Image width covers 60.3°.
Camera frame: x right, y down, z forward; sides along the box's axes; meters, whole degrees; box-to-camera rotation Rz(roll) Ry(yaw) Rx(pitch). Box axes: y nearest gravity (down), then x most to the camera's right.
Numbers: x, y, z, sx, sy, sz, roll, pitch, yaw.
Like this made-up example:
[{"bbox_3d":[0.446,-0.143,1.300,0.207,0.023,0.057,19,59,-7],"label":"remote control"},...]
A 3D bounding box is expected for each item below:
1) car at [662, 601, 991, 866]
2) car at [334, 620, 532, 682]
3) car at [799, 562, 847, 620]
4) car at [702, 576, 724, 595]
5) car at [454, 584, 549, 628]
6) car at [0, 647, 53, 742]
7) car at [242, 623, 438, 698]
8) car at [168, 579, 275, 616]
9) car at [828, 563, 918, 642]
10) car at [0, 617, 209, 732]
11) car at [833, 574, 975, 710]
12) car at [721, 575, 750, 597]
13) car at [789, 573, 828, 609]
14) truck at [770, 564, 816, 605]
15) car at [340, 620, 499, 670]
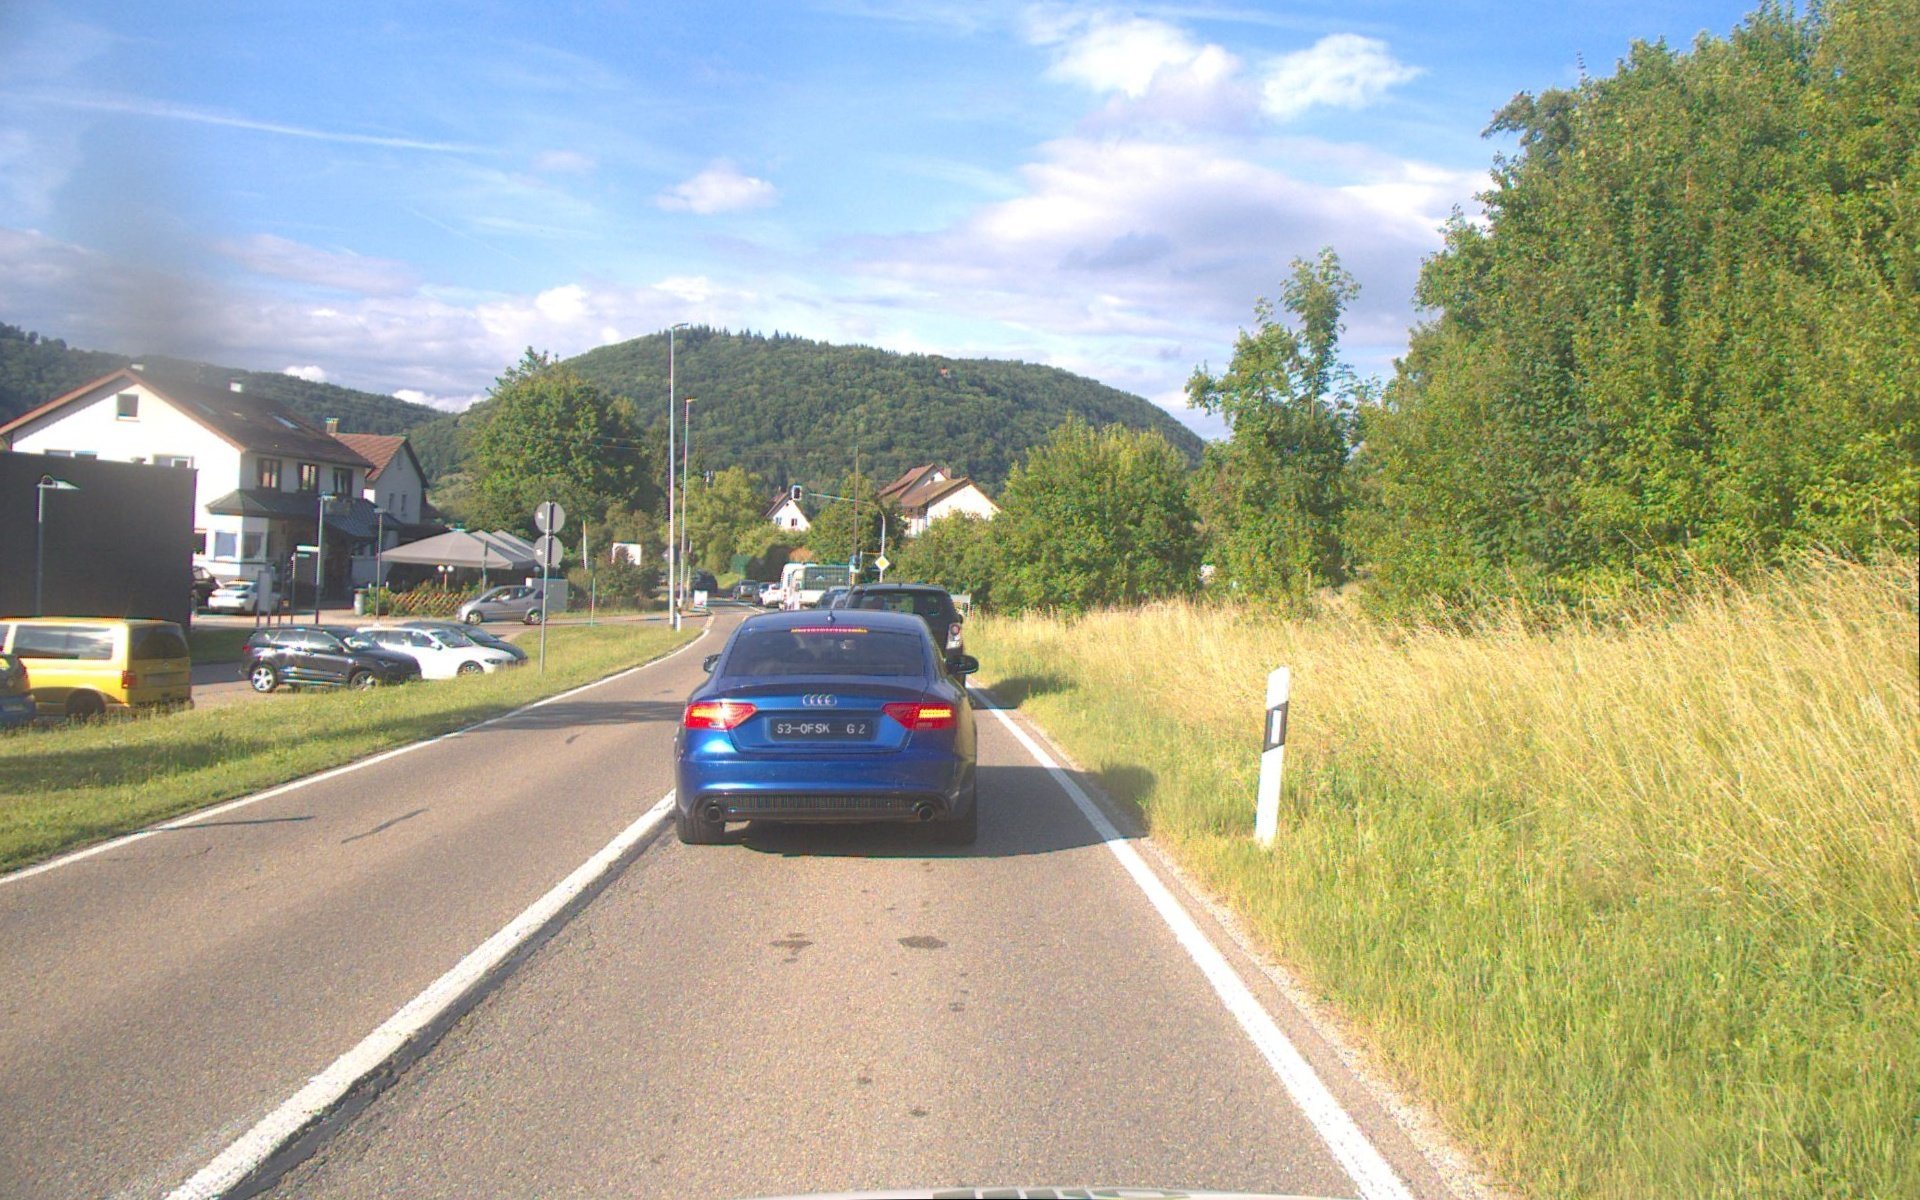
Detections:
[{"bbox_3d":[-0.678,0.731,10.876,1.758,1.412,4.000,0,0,1],"label":"car"},{"bbox_3d":[-14.178,1.361,44.619,4.711,1.520,1.882,1,-1,8],"label":"car"},{"bbox_3d":[-5.573,-0.346,66.854,1.713,2.234,3.993,1,0,-7],"label":"car"},{"bbox_3d":[-21.722,-1.262,145.507,1.598,1.604,3.667,1,0,-13],"label":"car"},{"bbox_3d":[-18.514,0.257,66.784,3.419,1.691,1.725,1,-1,-28],"label":"car"},{"bbox_3d":[-17.301,1.537,27.619,3.419,1.498,1.634,1,-1,6],"label":"car"},{"bbox_3d":[-15.001,1.432,40.125,3.939,1.666,2.002,1,-1,8],"label":"car"},{"bbox_3d":[-30.737,-0.074,68.926,1.728,1.467,4.000,1,-1,21],"label":"car"},{"bbox_3d":[-1.925,0.072,37.764,1.768,1.668,4.463,1,0,0],"label":"car"},{"bbox_3d":[-16.366,1.305,30.177,4.512,1.900,2.002,1,-1,12],"label":"car"},{"bbox_3d":[-0.680,0.536,22.713,1.710,1.668,4.000,1,0,1],"label":"car"},{"bbox_3d":[-16.652,-1.033,122.480,1.670,1.516,3.511,1,0,-16],"label":"car"},{"bbox_3d":[-7.374,-0.401,80.151,1.713,1.668,3.993,1,0,-7],"label":"car"},{"bbox_3d":[-8.650,-0.772,85.358,1.668,1.988,5.904,1,0,-12],"label":"truck"},{"bbox_3d":[-15.412,1.273,47.298,3.903,1.333,1.761,1,-1,4],"label":"car"}]
